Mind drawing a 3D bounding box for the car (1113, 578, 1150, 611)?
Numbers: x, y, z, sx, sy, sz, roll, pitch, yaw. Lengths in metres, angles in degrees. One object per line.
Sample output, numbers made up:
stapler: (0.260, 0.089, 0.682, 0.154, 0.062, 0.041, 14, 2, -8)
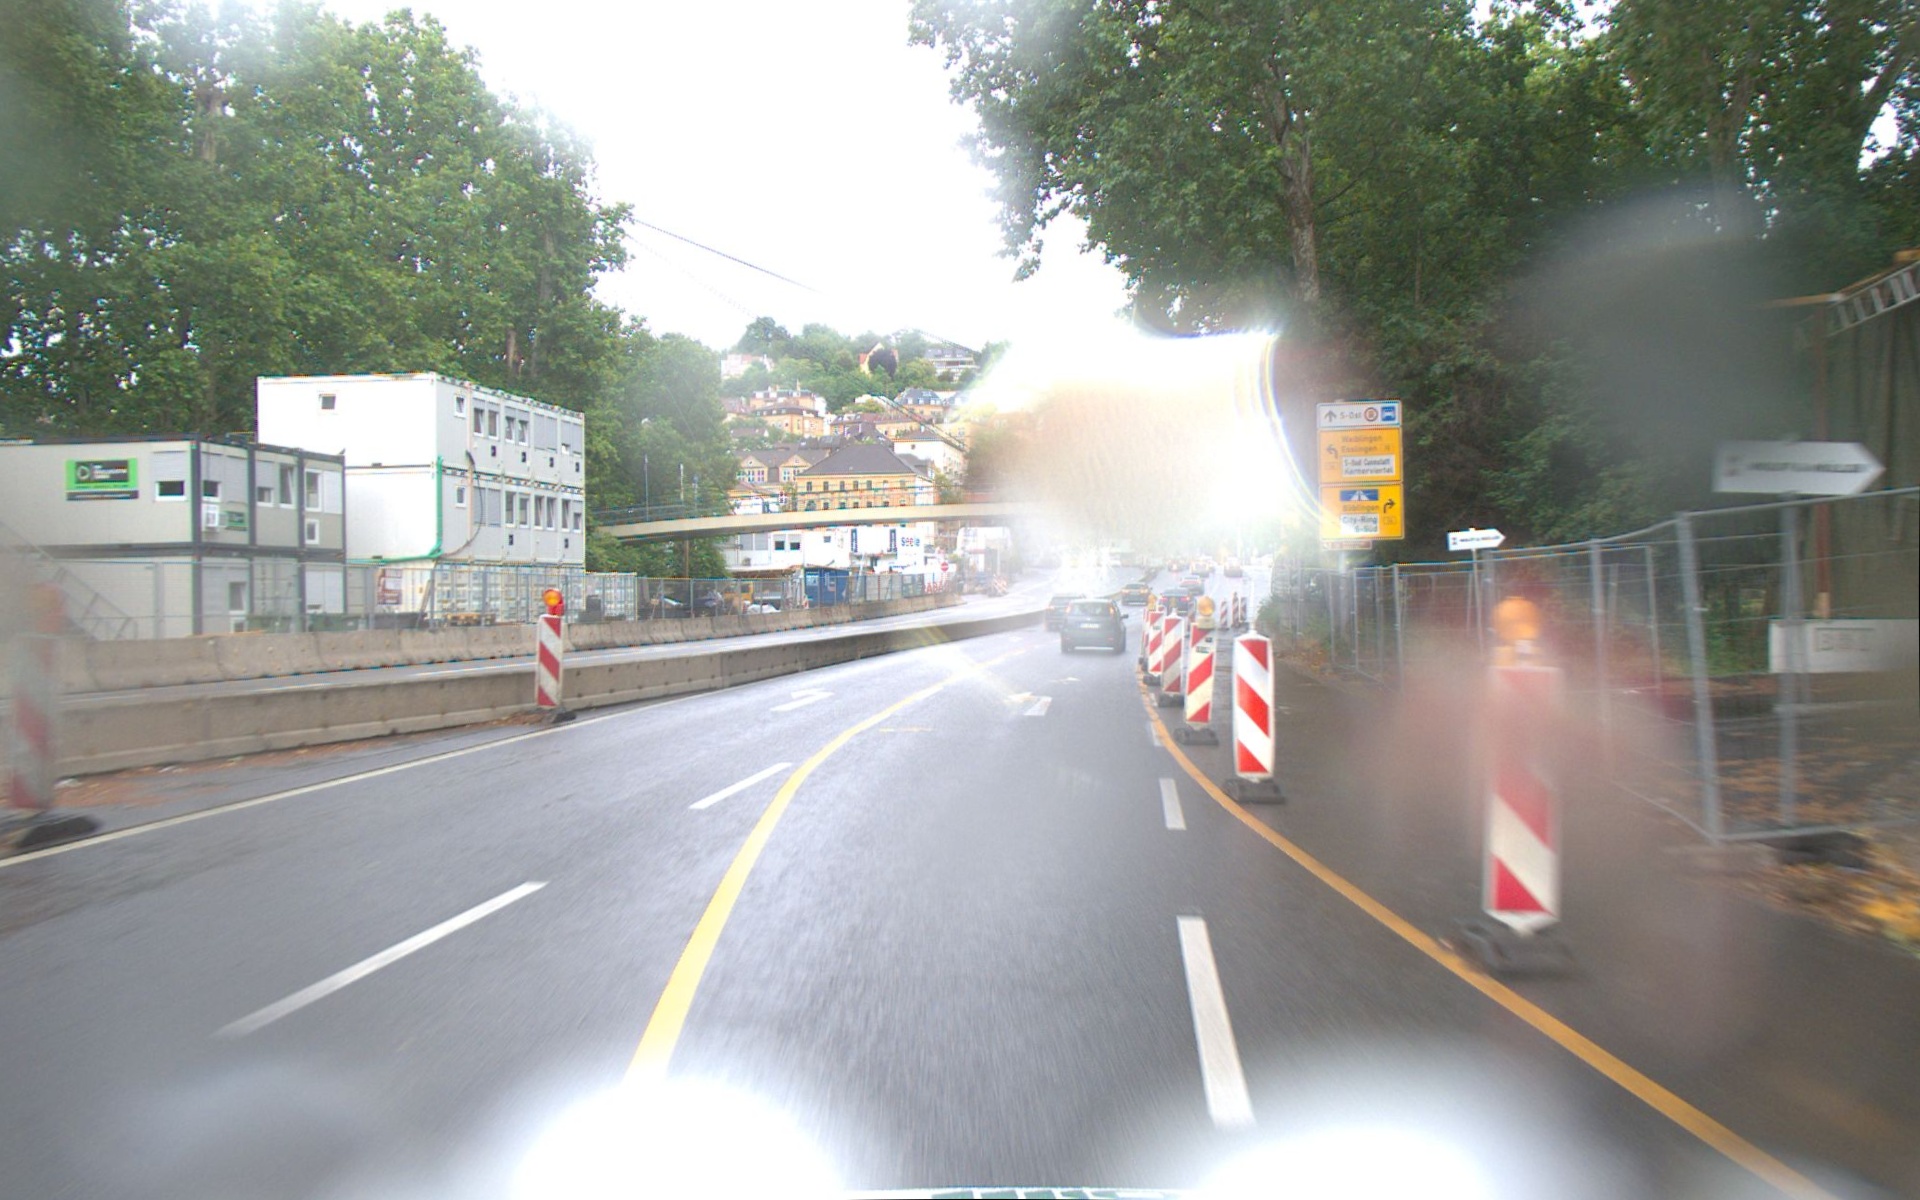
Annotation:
car: (11.224, -0.334, 107.868, 1.951, 2.049, 4.003, -2, 0, 12)

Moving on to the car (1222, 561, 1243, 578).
car: (28.461, -3.179, 173.006, 1.951, 1.728, 4.003, -2, 0, 7)

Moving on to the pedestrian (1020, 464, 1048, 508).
pedestrian: (3.719, -5.704, 83.120, 1.123, 2.096, 1.060, -2, -1, 17)

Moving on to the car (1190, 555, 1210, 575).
car: (24.720, -3.579, 170.186, 1.951, 1.902, 4.003, -2, 0, 8)

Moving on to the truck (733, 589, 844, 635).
truck: (-10.090, 0.690, 97.824, 6.146, 2.495, 2.695, -2, -1, 2)

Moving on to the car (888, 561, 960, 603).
car: (-2.590, -1.279, 120.126, 1.960, 2.925, 6.030, -2, -1, 36)

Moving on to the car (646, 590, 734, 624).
car: (-14.415, 0.364, 88.521, 4.332, 1.656, 1.959, -2, 0, 0)

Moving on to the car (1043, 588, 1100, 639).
car: (4.716, 0.566, 69.563, 1.973, 2.049, 4.003, -2, 0, 9)

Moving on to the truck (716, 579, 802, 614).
truck: (-12.895, -0.238, 106.287, 5.136, 2.049, 2.165, -2, 0, 5)

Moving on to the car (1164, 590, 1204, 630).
car: (12.383, 0.551, 91.215, 2.060, 2.086, 4.003, -2, 0, 9)

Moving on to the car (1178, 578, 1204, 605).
car: (18.333, -0.654, 131.255, 2.008, 2.049, 4.003, -2, 0, 8)

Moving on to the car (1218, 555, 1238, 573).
car: (28.988, -3.902, 179.223, 1.951, 1.728, 4.003, -2, 0, 7)

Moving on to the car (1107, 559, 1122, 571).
car: (20.697, -4.692, 221.385, 1.672, 1.515, 3.453, -2, 0, 10)

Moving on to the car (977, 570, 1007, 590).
car: (2.922, -1.867, 151.083, 1.951, 1.650, 4.004, -1, 2, 13)

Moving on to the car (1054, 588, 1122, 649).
car: (3.584, 0.493, 46.006, 1.774, 1.553, 4.002, -2, 0, 5)

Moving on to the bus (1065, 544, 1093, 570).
bus: (15.386, -5.542, 213.865, 2.746, 3.240, 8.815, -2, 1, 9)

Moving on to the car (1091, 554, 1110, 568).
car: (17.324, -4.801, 204.221, 2.037, 1.659, 4.857, -2, 1, 8)
